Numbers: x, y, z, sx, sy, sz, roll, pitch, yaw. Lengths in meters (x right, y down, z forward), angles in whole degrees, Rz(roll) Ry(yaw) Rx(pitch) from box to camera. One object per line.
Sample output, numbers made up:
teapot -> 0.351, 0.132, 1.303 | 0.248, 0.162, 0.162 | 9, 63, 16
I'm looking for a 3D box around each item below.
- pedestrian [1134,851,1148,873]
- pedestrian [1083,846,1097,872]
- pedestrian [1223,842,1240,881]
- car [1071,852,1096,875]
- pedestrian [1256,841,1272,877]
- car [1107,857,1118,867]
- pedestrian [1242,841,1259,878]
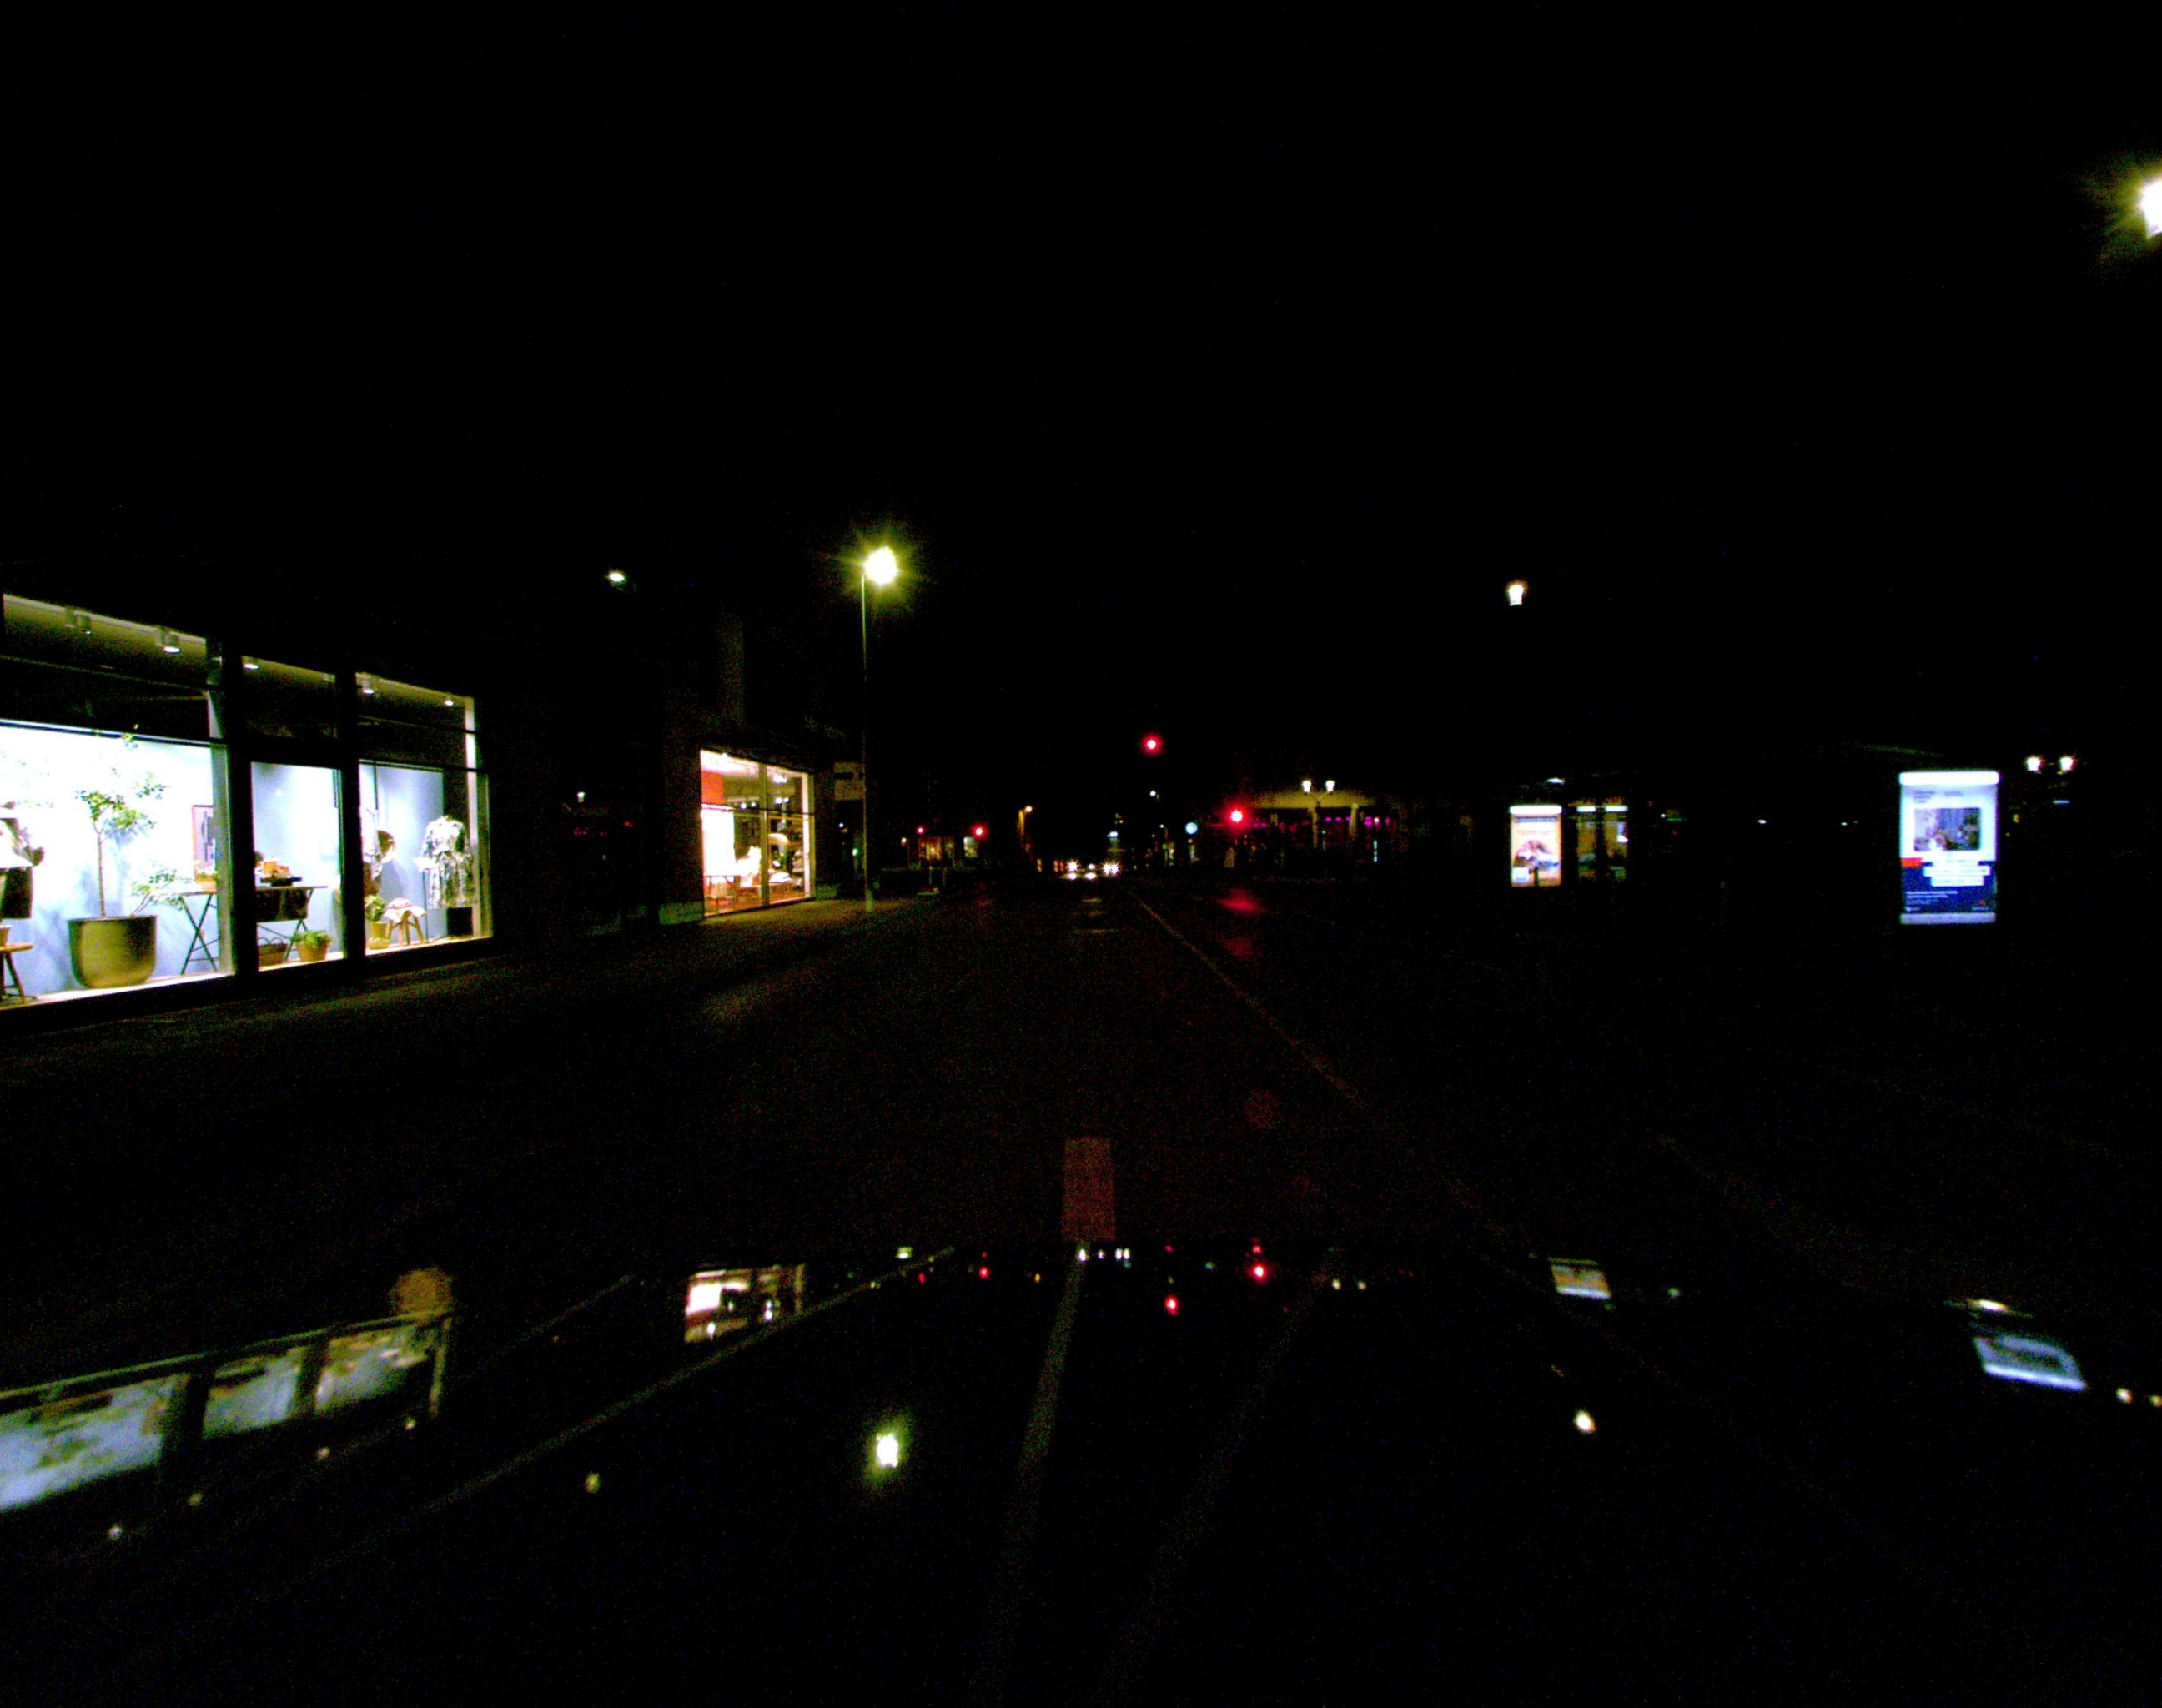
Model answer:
pedestrian -> 4.139, 0.563, 52.244 | 0.828, 1.487, 0.648 | 0, 1, 14
pedestrian -> 0.599, 0.348, 50.979 | 0.877, 1.723, 0.647 | 0, 1, 4
pedestrian -> 6.646, 0.331, 33.511 | 0.539, 1.672, 0.648 | -2, 1, 23
car -> 0.252, 0.696, 60.268 | 1.713, 1.660, 3.738 | -2, 1, 3
pedestrian -> 8.378, 0.225, 34.765 | 0.582, 1.619, 0.648 | -2, 1, 23
car -> 5.857, 1.465, 143.589 | 1.879, 1.718, 3.999 | -2, 1, 1
pedestrian -> 7.805, 0.269, 35.012 | 0.582, 1.672, 0.648 | -2, 1, 23
